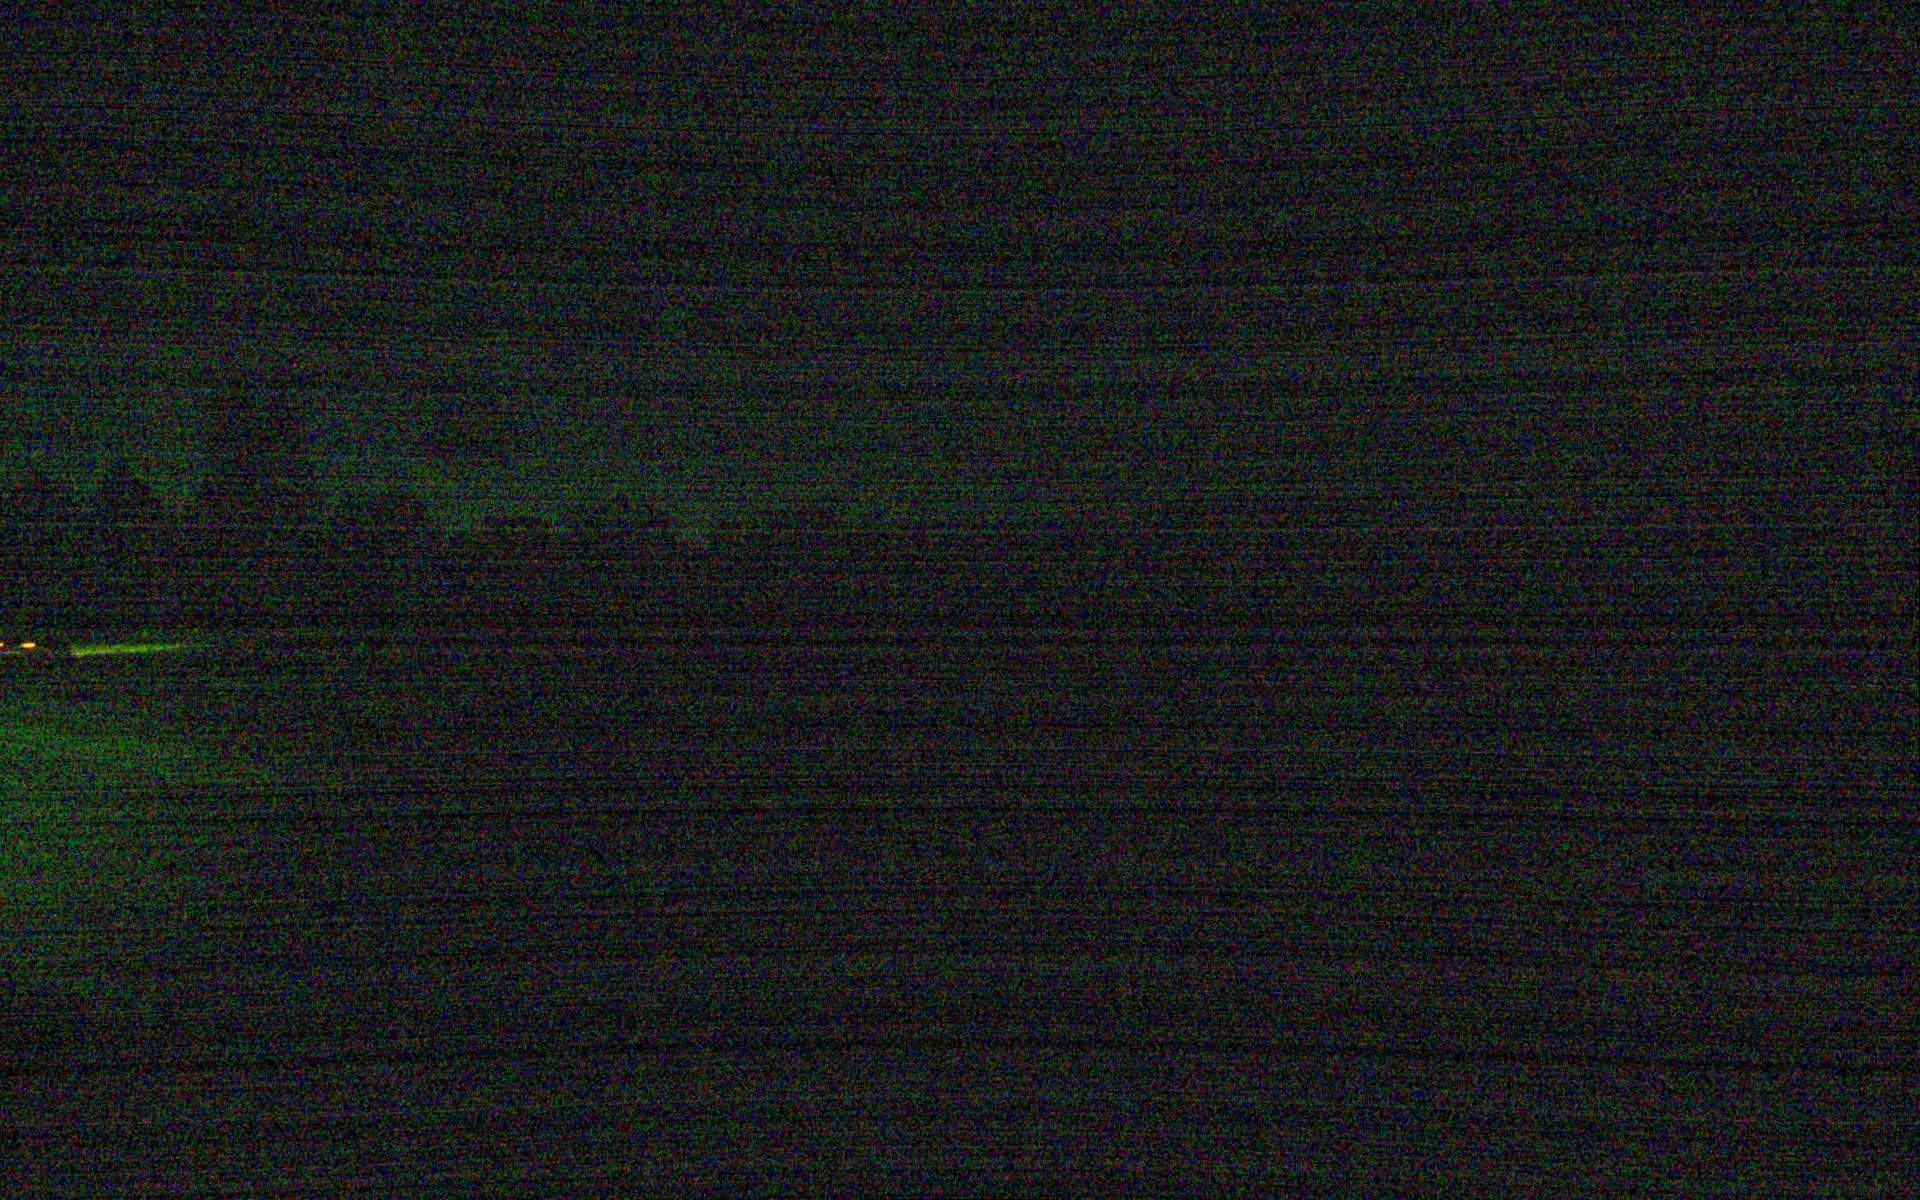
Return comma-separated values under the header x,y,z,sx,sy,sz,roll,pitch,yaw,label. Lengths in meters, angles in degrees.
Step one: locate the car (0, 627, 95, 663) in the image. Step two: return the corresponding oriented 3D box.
x,y,z,sx,sy,sz,roll,pitch,yaw,label
-49.298,2.402,54.005,1.901,1.839,4.264,0,-1,-6,car
